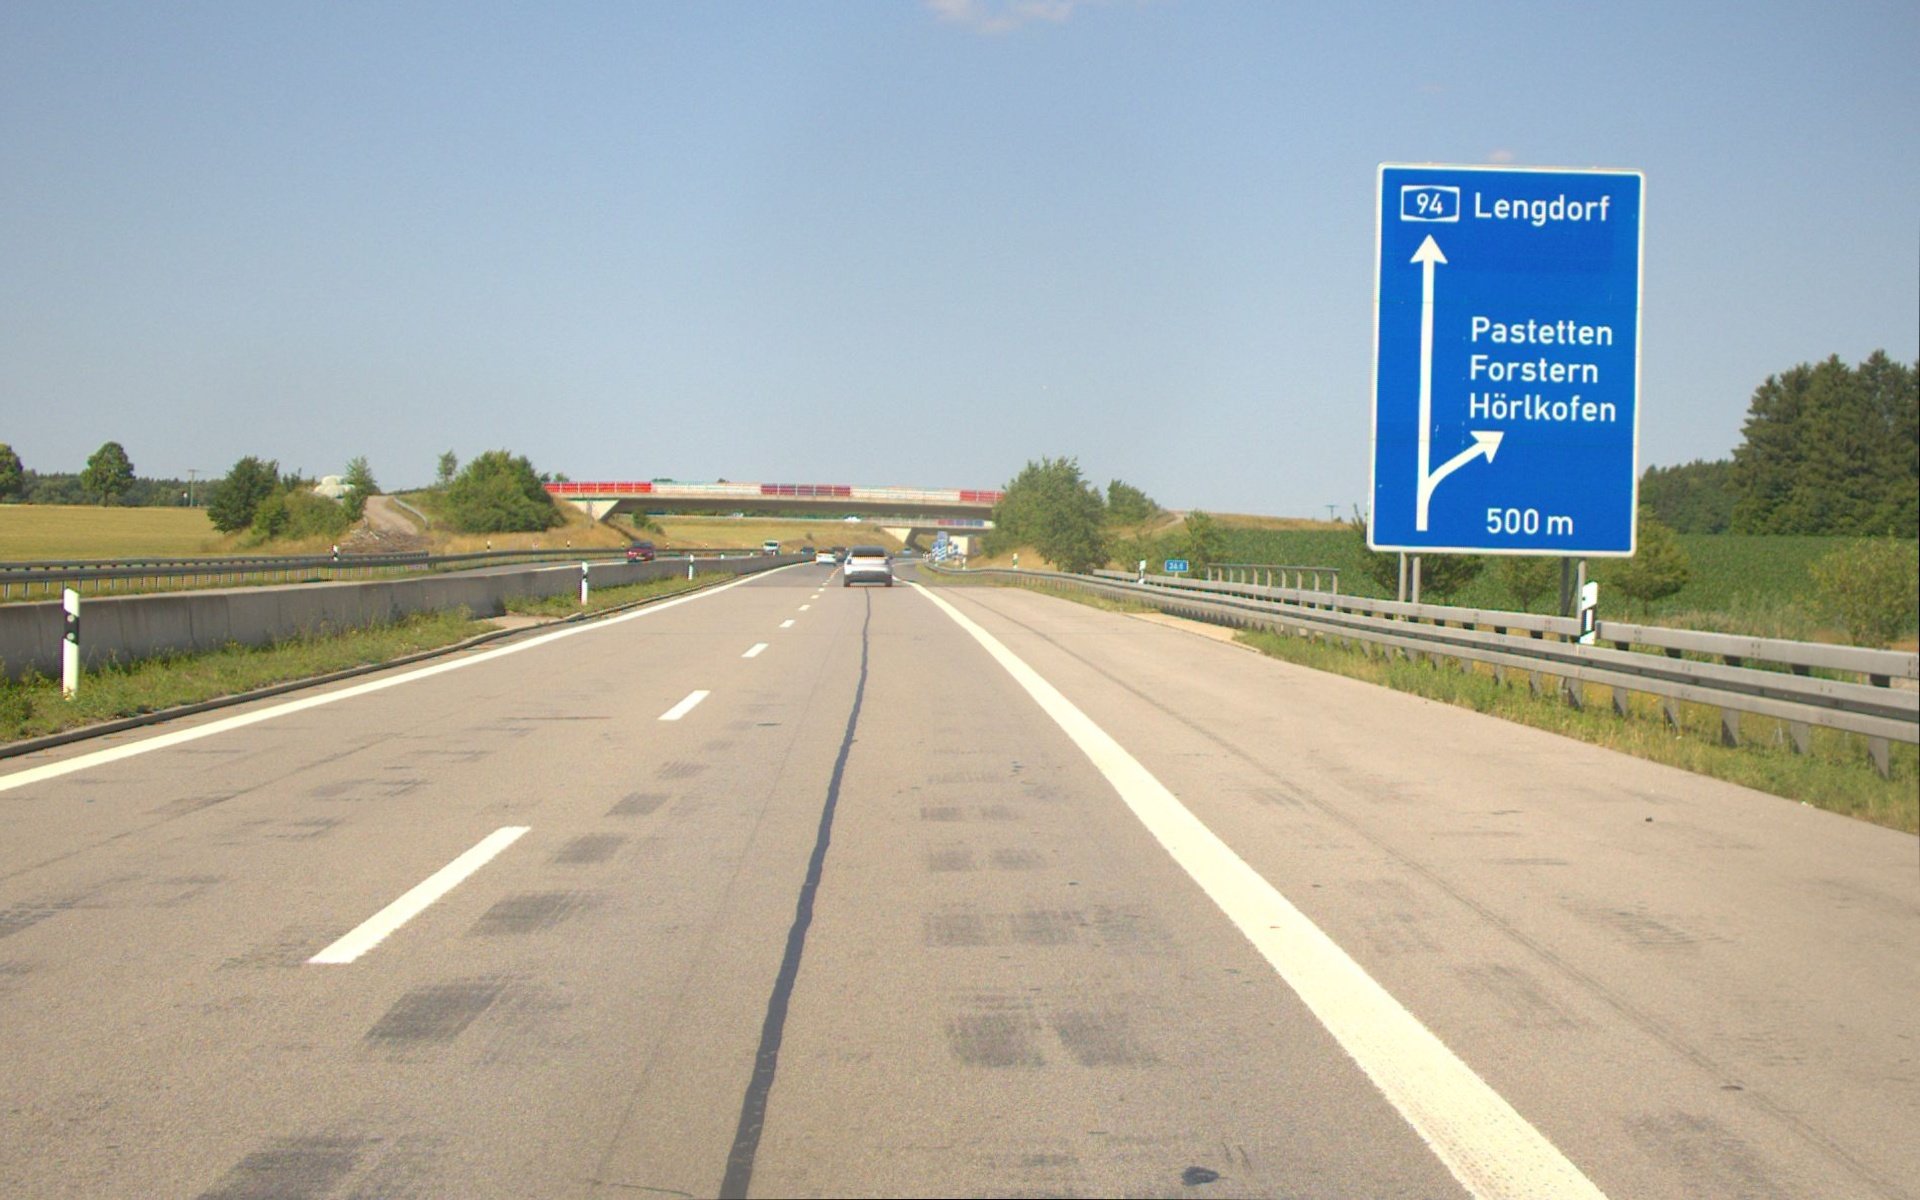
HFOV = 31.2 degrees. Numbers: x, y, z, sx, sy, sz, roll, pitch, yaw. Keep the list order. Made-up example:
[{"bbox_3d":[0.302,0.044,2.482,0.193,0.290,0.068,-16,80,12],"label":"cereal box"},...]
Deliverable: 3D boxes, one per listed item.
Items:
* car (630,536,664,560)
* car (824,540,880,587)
[{"bbox_3d":[-20.469,-3.424,225.042,1.898,1.518,4.806,-1,1,-2],"label":"car"},{"bbox_3d":[-4.154,-1.399,131.434,1.993,1.725,4.870,1,1,-3],"label":"car"}]
